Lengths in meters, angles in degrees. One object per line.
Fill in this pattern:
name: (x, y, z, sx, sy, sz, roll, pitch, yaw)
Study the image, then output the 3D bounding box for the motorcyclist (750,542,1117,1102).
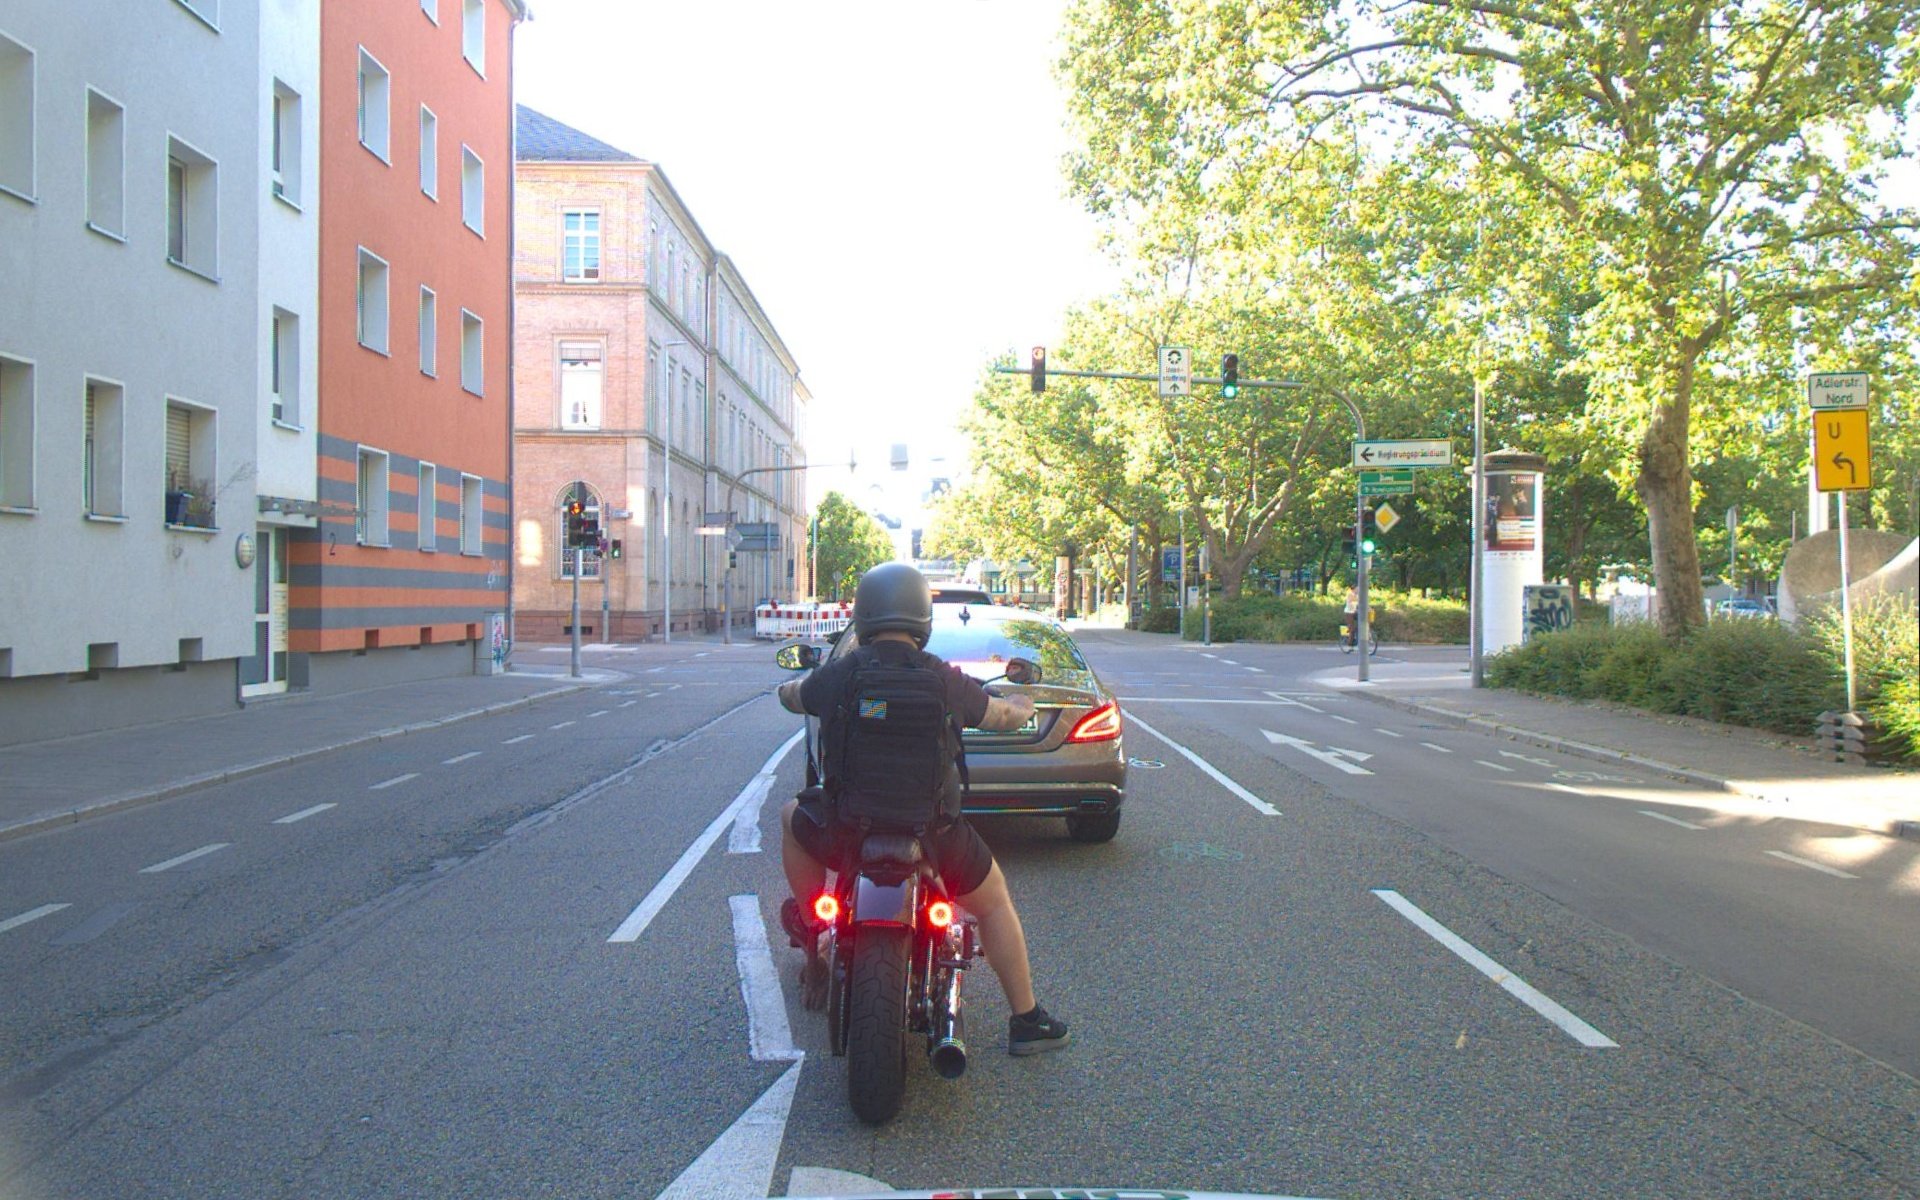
motorcyclist: (-0.081, 0.648, 5.255, 1.039, 1.610, 0.908, 1, 0, -1)

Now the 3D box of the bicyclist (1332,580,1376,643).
bicyclist: (10.283, 0.304, 43.190, 0.707, 1.610, 0.929, 1, -1, -24)

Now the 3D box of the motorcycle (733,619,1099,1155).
motorcycle: (-0.131, 0.772, 5.524, 0.942, 1.380, 2.319, 1, 0, -1)

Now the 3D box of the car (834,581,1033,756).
car: (-0.345, 0.607, 16.754, 1.777, 1.563, 3.846, 0, 0, -3)

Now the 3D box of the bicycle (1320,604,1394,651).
bicycle: (10.320, 0.705, 43.103, 0.706, 1.193, 2.159, 1, 0, -24)

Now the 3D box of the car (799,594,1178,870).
car: (-0.034, 0.698, 11.096, 1.867, 1.466, 4.280, 0, 0, -9)
